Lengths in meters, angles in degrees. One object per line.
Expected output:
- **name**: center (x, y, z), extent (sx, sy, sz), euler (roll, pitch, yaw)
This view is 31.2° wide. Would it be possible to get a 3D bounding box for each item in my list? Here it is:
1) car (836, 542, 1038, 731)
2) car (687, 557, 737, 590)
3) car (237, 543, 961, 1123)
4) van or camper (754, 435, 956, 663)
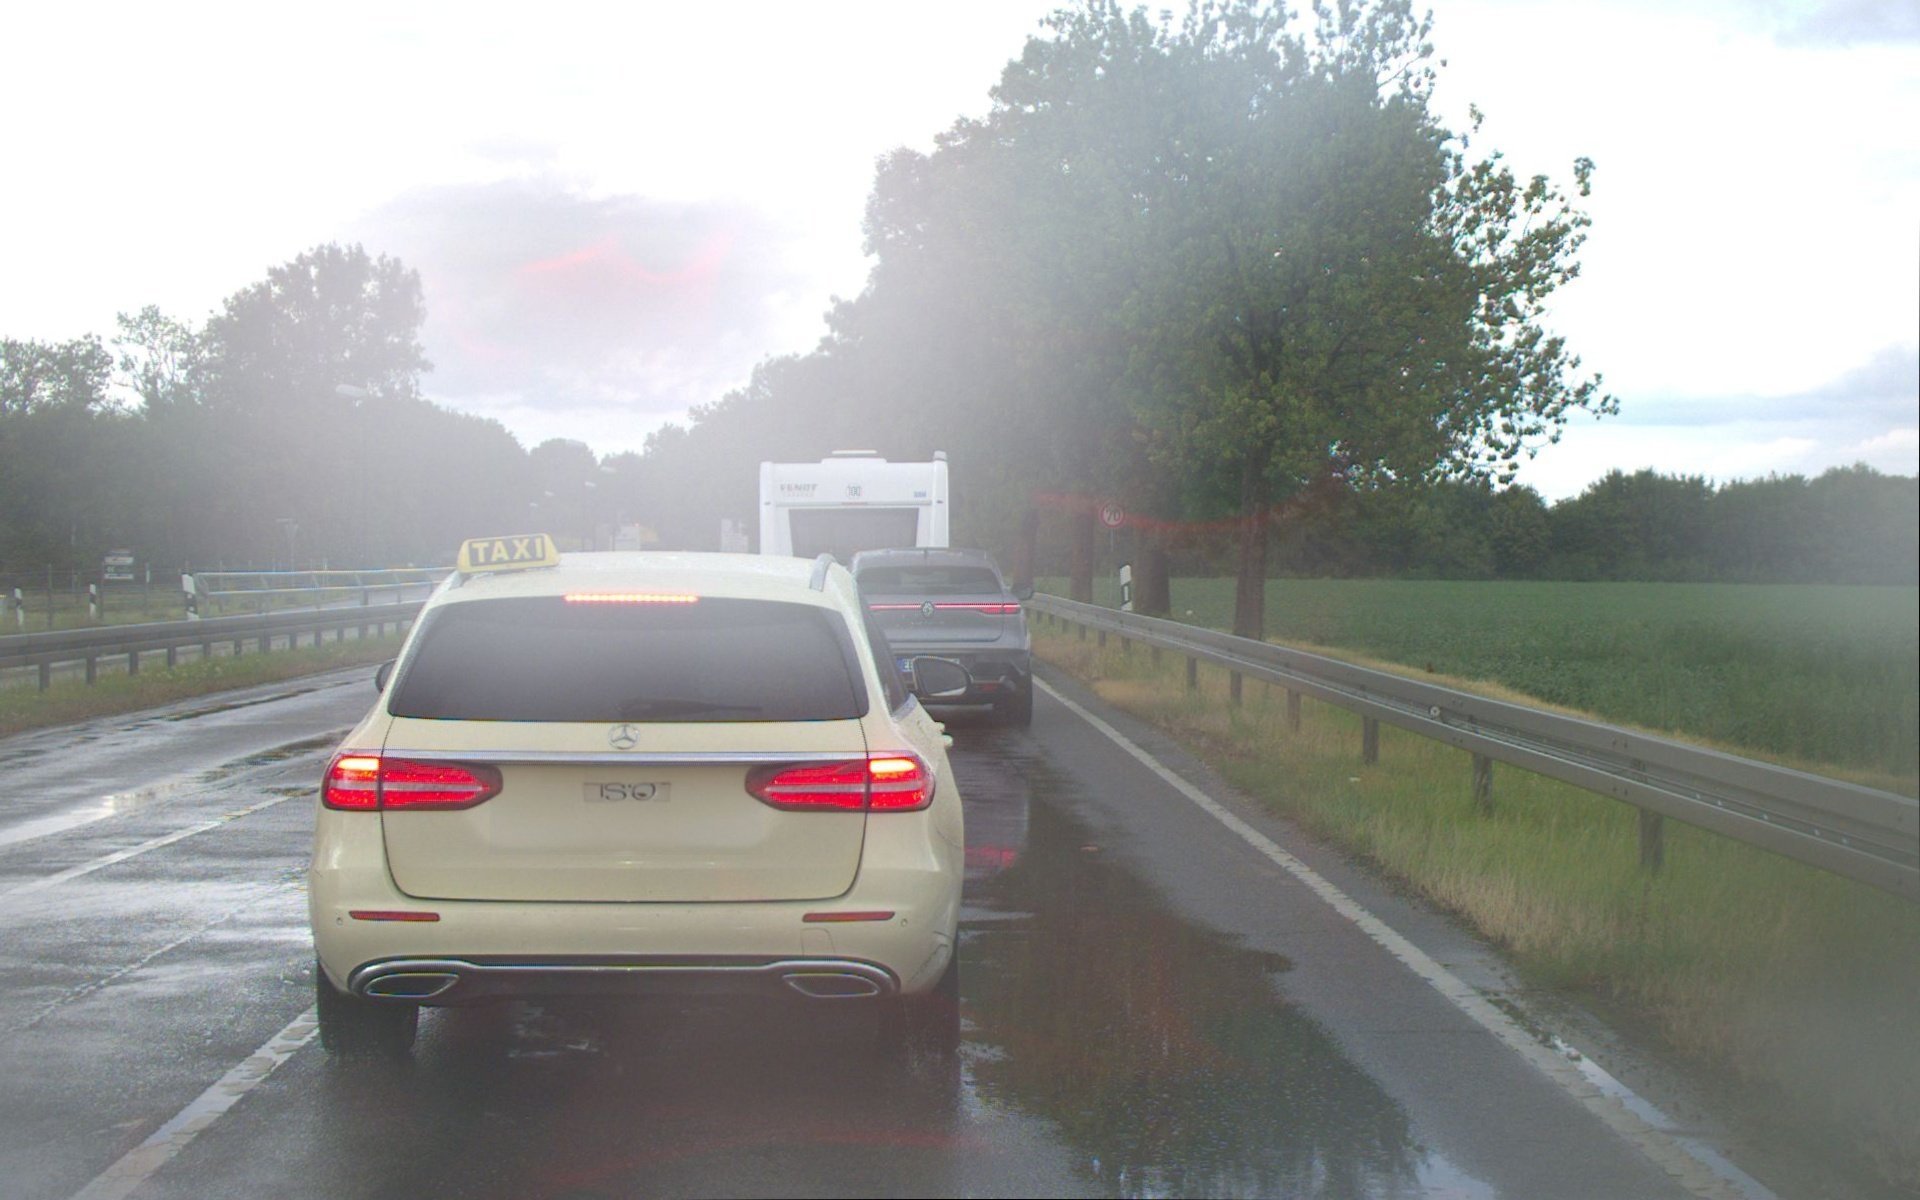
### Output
- **car**: center (-0.209, 0.264, 29.884), extent (1.627, 1.524, 3.933), euler (0, 1, -1)
- **car**: center (-9.933, -1.078, 137.875), extent (1.758, 1.265, 4.000), euler (0, 1, -1)
- **car**: center (-0.928, 0.567, 10.901), extent (1.825, 1.480, 4.145), euler (0, 1, 0)
- **van or camper**: center (-1.271, -0.670, 43.453), extent (2.350, 2.671, 5.769), euler (1, 1, -1)
